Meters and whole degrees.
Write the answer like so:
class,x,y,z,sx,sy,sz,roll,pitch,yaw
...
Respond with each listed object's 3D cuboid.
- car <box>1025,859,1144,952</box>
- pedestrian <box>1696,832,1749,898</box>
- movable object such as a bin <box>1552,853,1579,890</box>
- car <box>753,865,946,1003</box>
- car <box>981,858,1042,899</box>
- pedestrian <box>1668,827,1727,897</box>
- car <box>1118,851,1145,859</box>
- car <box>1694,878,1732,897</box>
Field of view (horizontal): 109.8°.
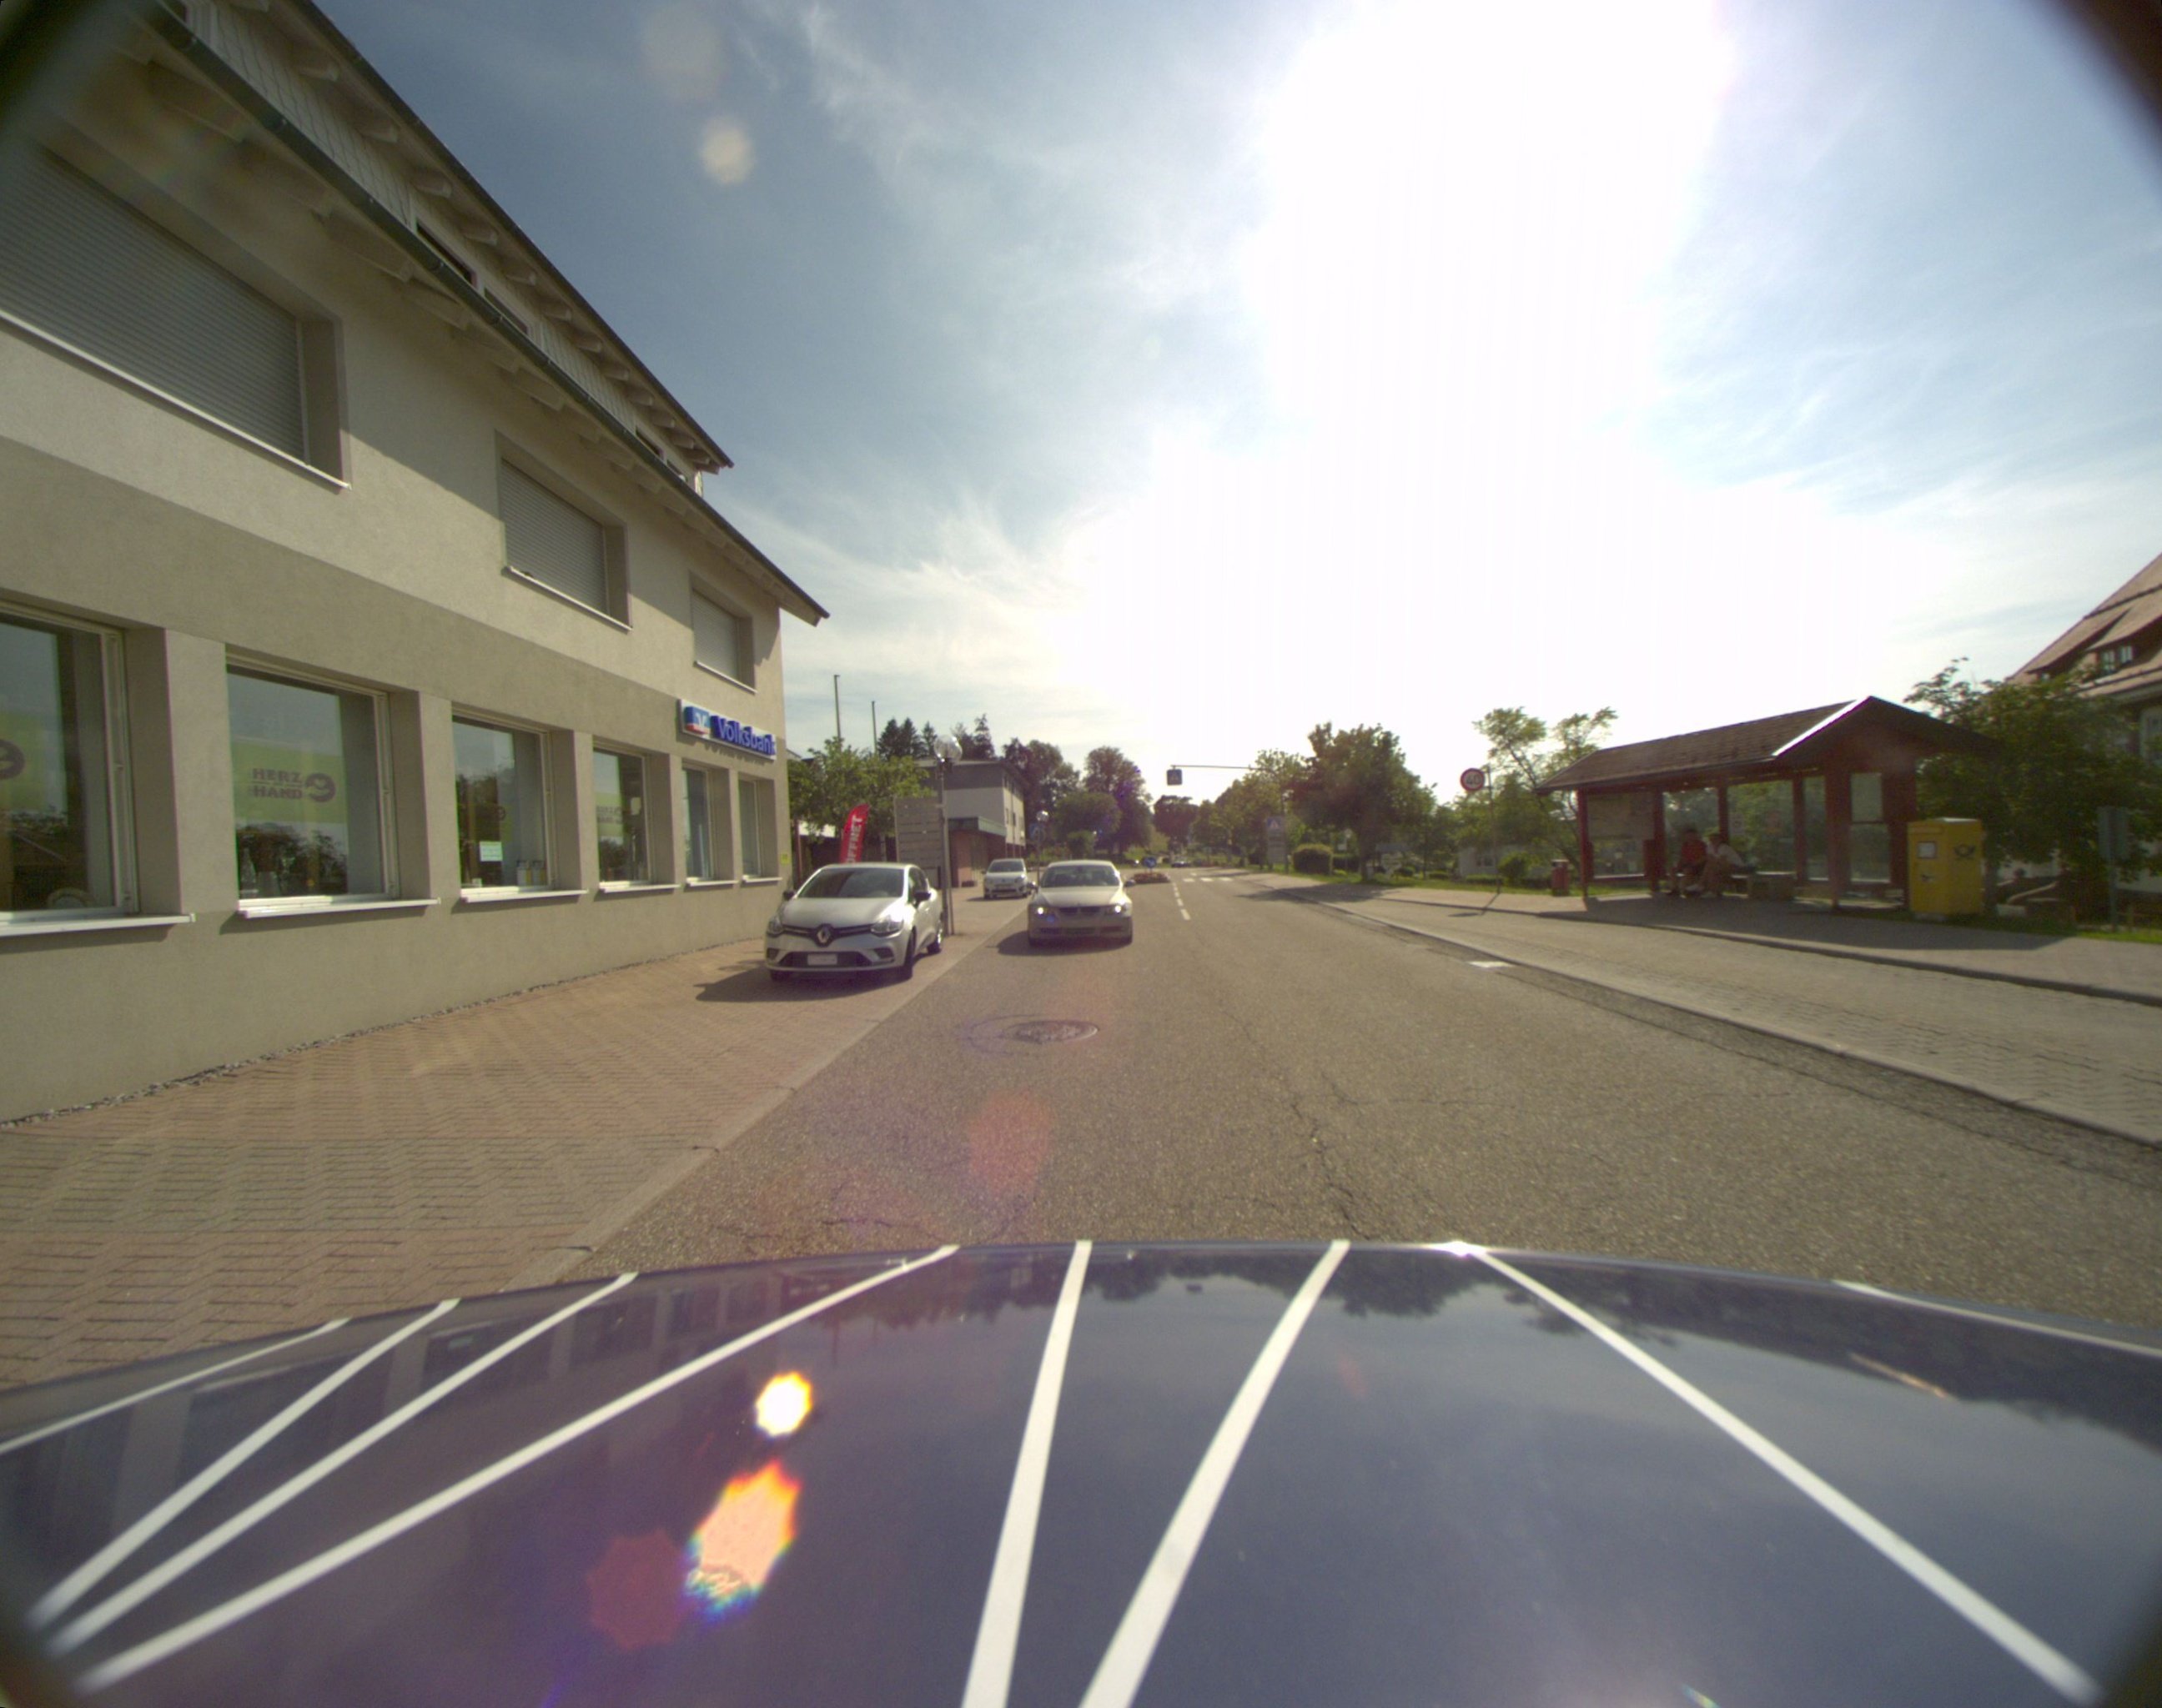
class,x,y,z,sx,sy,sz,roll,pitch,yaw
car,0.096,0.826,14.260,1.838,1.360,4.581,-1,1,1
pedestrian,12.187,0.210,14.445,0.630,1.246,0.423,0,1,-1
movable object such as a bin,11.176,0.409,17.546,0.305,0.832,0.485,-1,1,-1
car,-2.921,0.922,10.435,1.640,1.411,3.933,-1,1,-4
car,-2.604,0.894,29.160,1.764,1.415,3.634,0,0,4
pedestrian,12.185,0.165,15.036,0.619,1.356,0.674,0,-1,0
car,8.502,0.156,127.646,4.254,1.420,1.706,0,0,35
car,57.874,3.042,69.604,1.565,1.630,2.975,0,-1,15
